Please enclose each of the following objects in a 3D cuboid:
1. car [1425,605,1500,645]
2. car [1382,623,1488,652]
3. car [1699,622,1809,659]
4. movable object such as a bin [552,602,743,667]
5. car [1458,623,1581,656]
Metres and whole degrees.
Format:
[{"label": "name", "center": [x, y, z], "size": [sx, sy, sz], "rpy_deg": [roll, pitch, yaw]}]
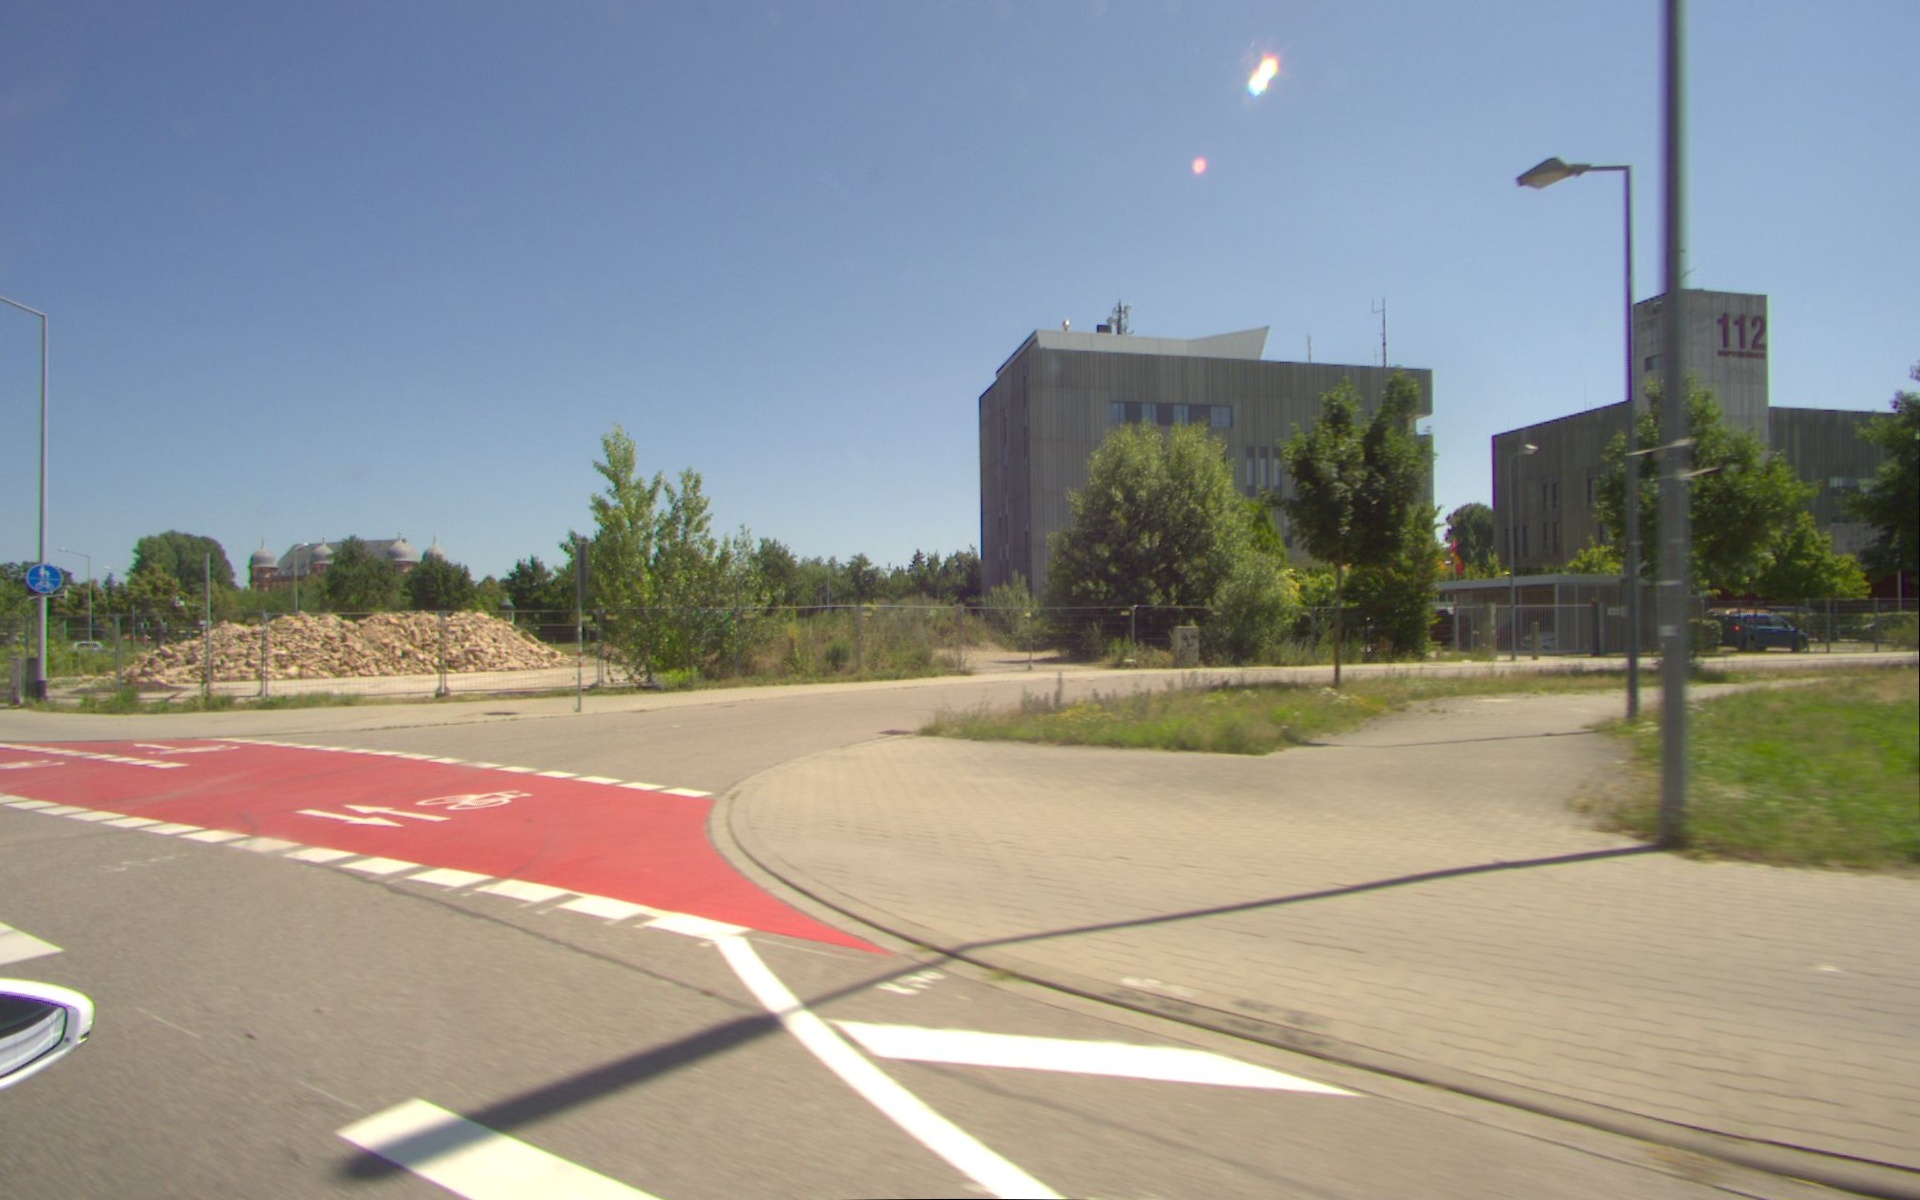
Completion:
[{"label": "car", "center": [30.252, 1.493, 60.339], "size": [3.783, 2.324, 1.741], "rpy_deg": [-1, -1, -12]}, {"label": "car", "center": [25.470, 2.003, 53.716], "size": [4.987, 1.455, 1.998], "rpy_deg": [-1, -1, -14]}, {"label": "car", "center": [34.079, 1.726, 43.020], "size": [3.927, 1.510, 1.653], "rpy_deg": [-1, -1, -14]}, {"label": "movable object such as a bin", "center": [-17.625, 1.967, 56.198], "size": [10.327, 3.301, 4.928], "rpy_deg": [-2, -2, 34]}, {"label": "car", "center": [26.446, 1.847, 47.391], "size": [4.824, 1.455, 2.000], "rpy_deg": [-1, -1, -9]}]
